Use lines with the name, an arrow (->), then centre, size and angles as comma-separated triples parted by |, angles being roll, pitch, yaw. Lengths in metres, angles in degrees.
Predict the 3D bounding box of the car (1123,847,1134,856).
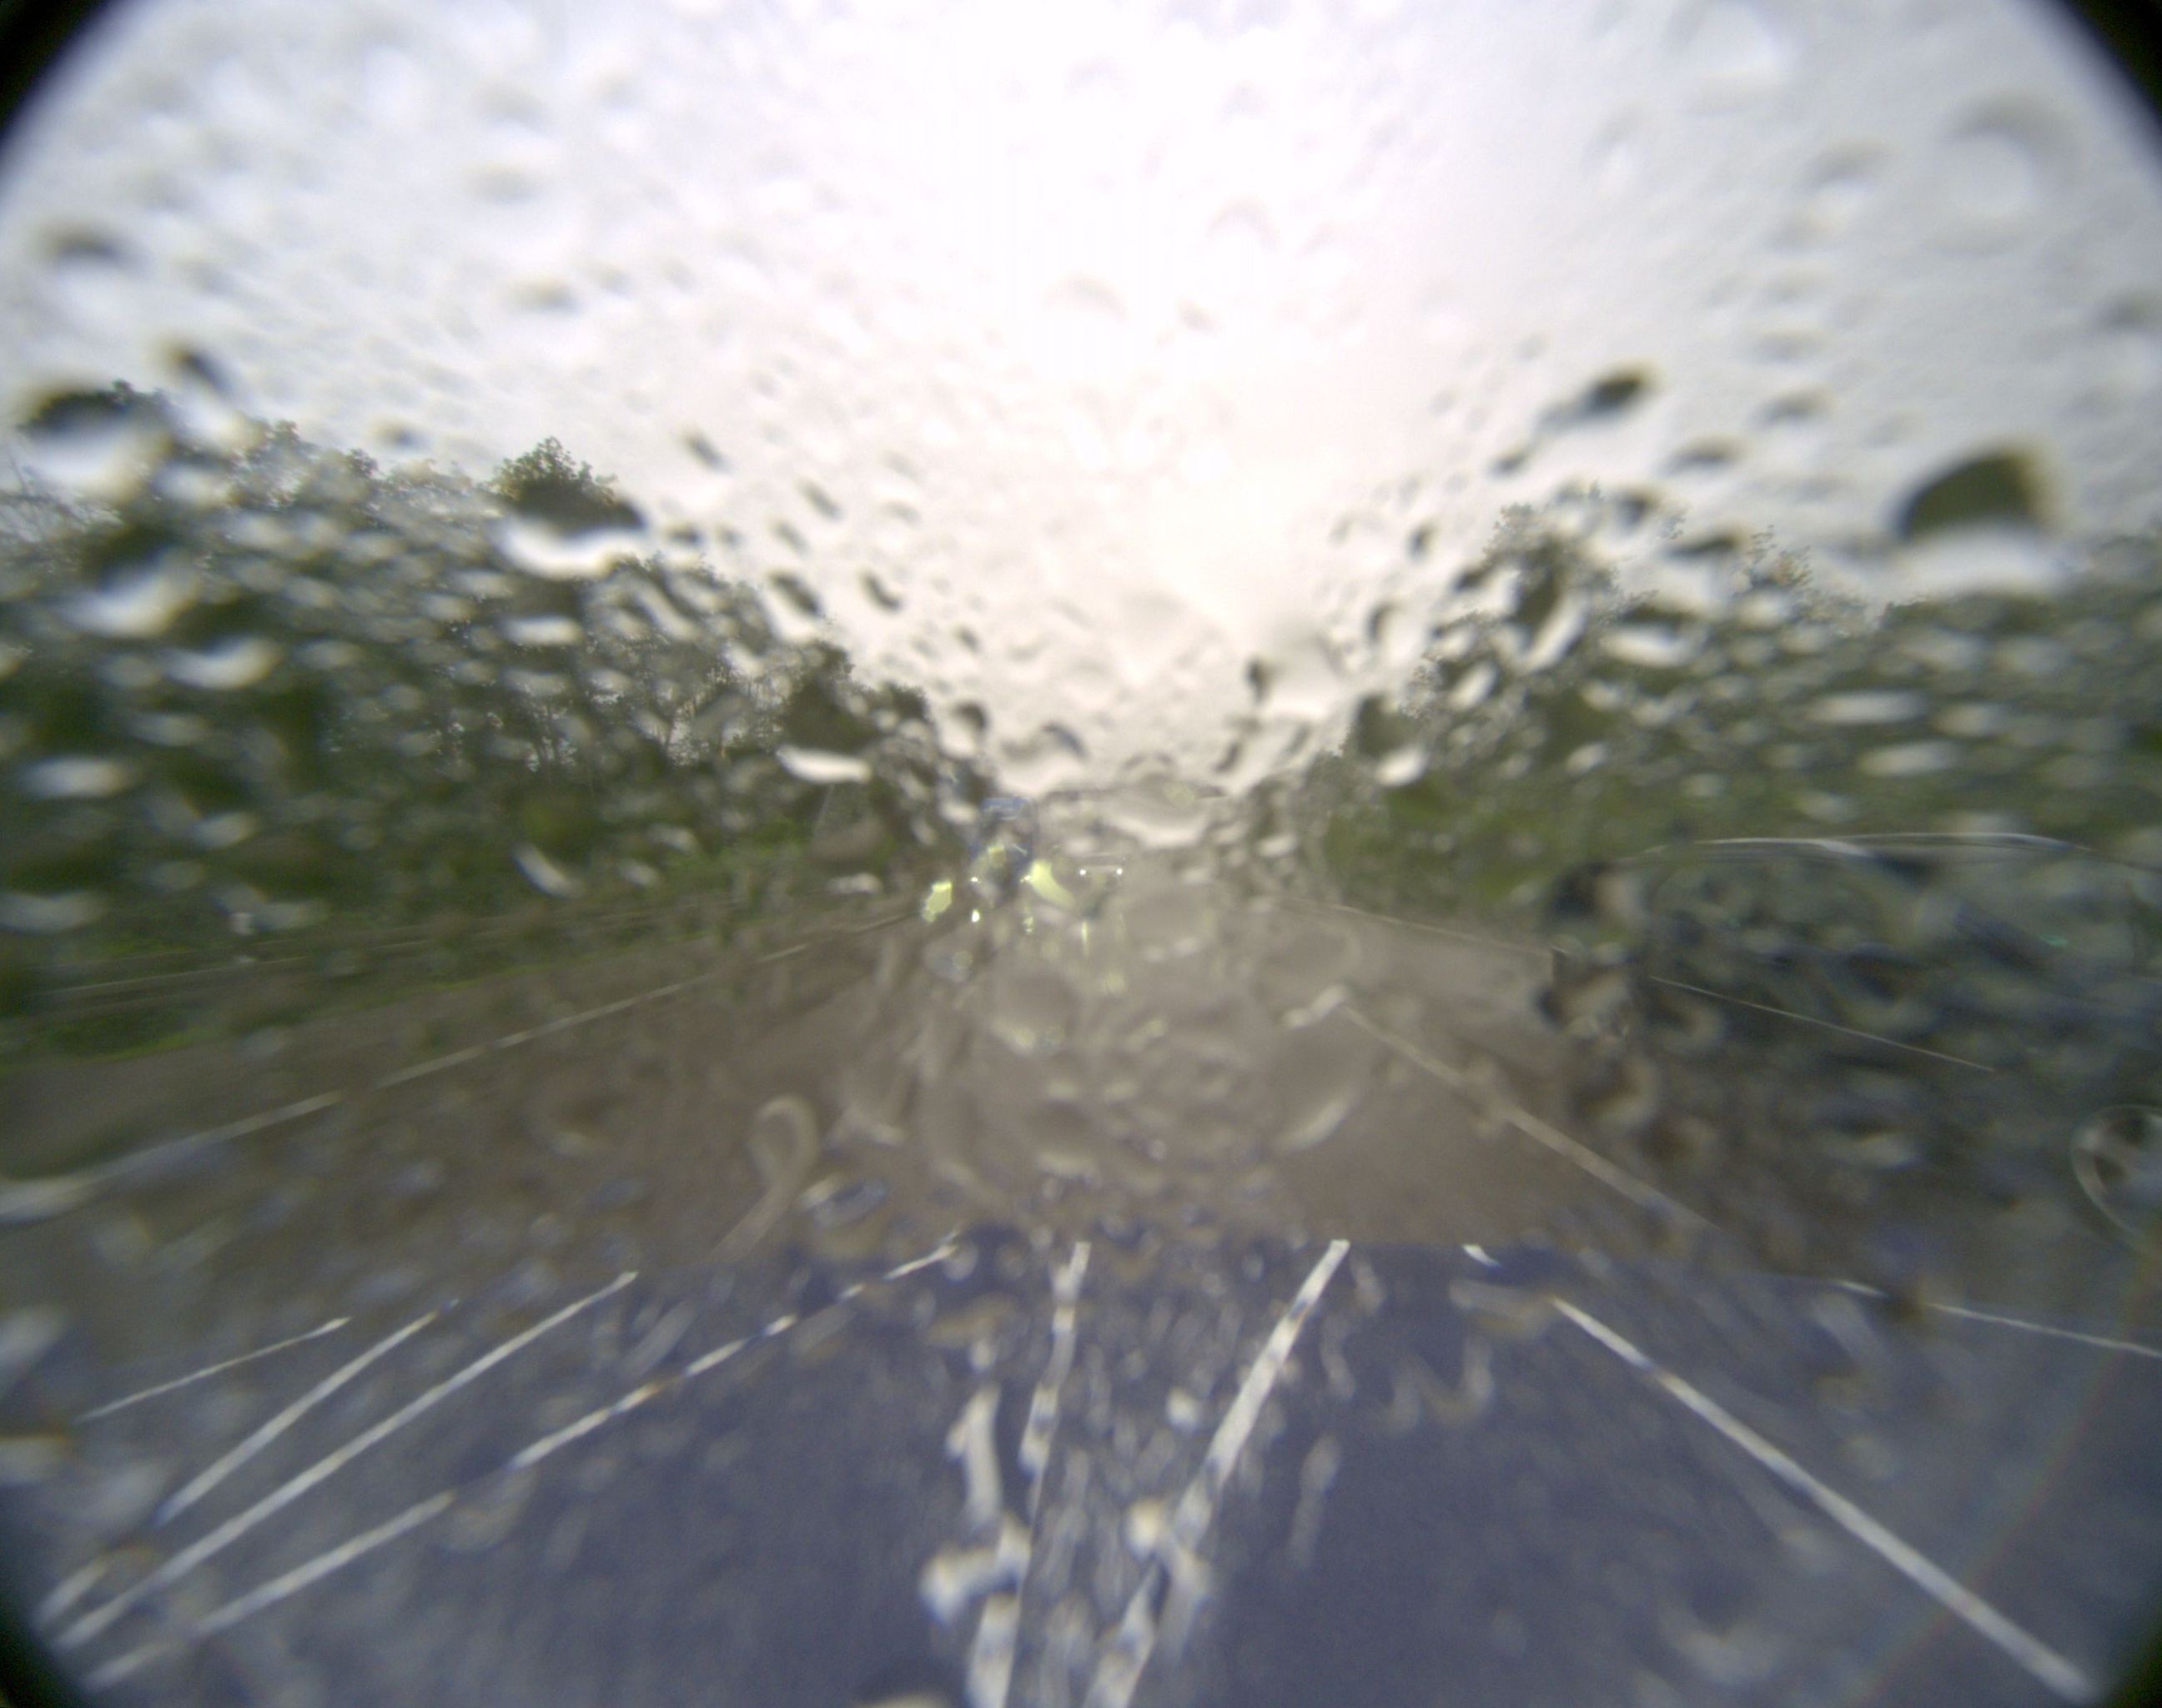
car -> 9.149, -0.494, 147.500 | 1.900, 1.533, 4.090 | -2, 0, 1

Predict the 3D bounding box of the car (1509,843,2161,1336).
car -> 4.416, 0.734, 3.375 | 2.059, 1.477, 5.157 | -2, 1, 0

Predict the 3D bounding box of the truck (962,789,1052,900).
truck -> -2.889, -0.398, 31.640 | 2.755, 4.055, 6.482 | -2, 1, 2

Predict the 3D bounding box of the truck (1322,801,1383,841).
truck -> 18.231, -2.185, 51.325 | 2.245, 2.408, 5.343 | -2, 0, 1

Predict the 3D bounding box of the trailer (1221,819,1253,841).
trailer -> 26.449, -4.024, 129.245 | 3.436, 3.364, 11.548 | -2, 0, 3

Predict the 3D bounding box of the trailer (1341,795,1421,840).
trailer -> 18.115, -2.120, 46.312 | 2.276, 2.414, 6.647 | -2, 1, 1

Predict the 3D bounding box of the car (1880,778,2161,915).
car -> 16.914, -0.163, 13.130 | 1.998, 2.002, 4.000 | -2, 0, 1

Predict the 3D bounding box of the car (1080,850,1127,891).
car -> 0.939, 0.628, 31.551 | 1.751, 1.545, 4.090 | -2, 0, 2

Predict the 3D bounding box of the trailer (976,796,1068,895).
trailer -> -2.564, -0.457, 38.246 | 2.750, 3.941, 14.129 | -2, 1, 3

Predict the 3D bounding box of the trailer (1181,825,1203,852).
trailer -> 23.478, -3.138, 161.530 | 3.436, 5.426, 11.548 | -2, 0, 3
